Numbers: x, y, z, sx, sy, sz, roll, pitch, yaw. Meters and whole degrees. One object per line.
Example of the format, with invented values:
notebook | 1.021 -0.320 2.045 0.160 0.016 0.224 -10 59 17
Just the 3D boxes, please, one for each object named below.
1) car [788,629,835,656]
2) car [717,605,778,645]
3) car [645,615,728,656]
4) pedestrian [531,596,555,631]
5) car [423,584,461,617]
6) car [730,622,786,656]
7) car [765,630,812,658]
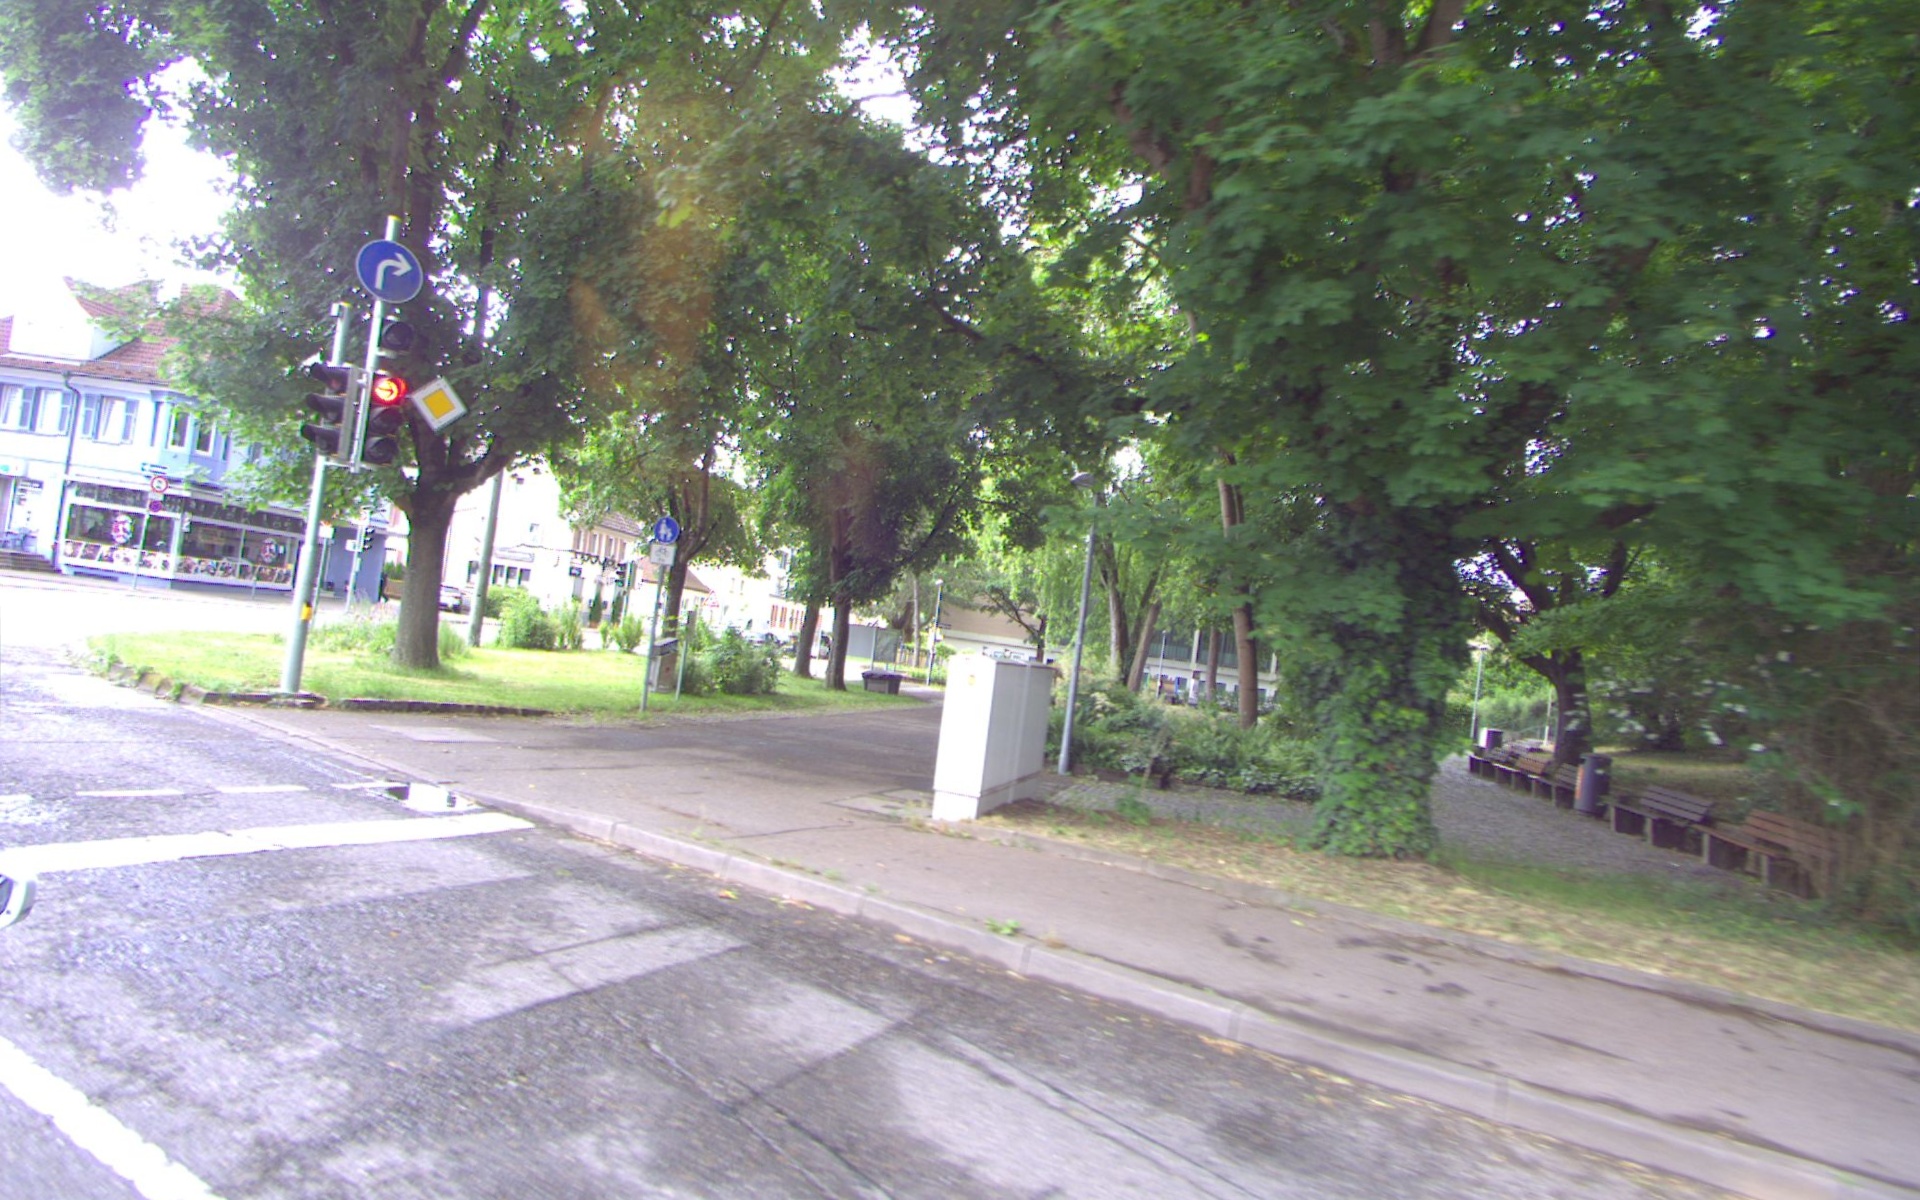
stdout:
car | -9.754 2.828 66.428 1.888 1.472 4.408 7 -3 7
car | -15.370 1.870 73.151 2.292 2.419 5.968 7 -3 7
car | -12.097 1.628 44.754 1.864 1.472 4.553 7 -3 7
pedestrian | -21.448 0.705 51.705 0.743 1.716 0.647 7 -2 3
car | -27.261 0.030 52.991 1.553 1.478 3.418 8 -3 -27
car | -10.955 2.151 54.750 1.838 1.589 4.005 7 -2 4
car | -10.210 2.663 60.146 1.706 1.406 3.747 7 -3 7
